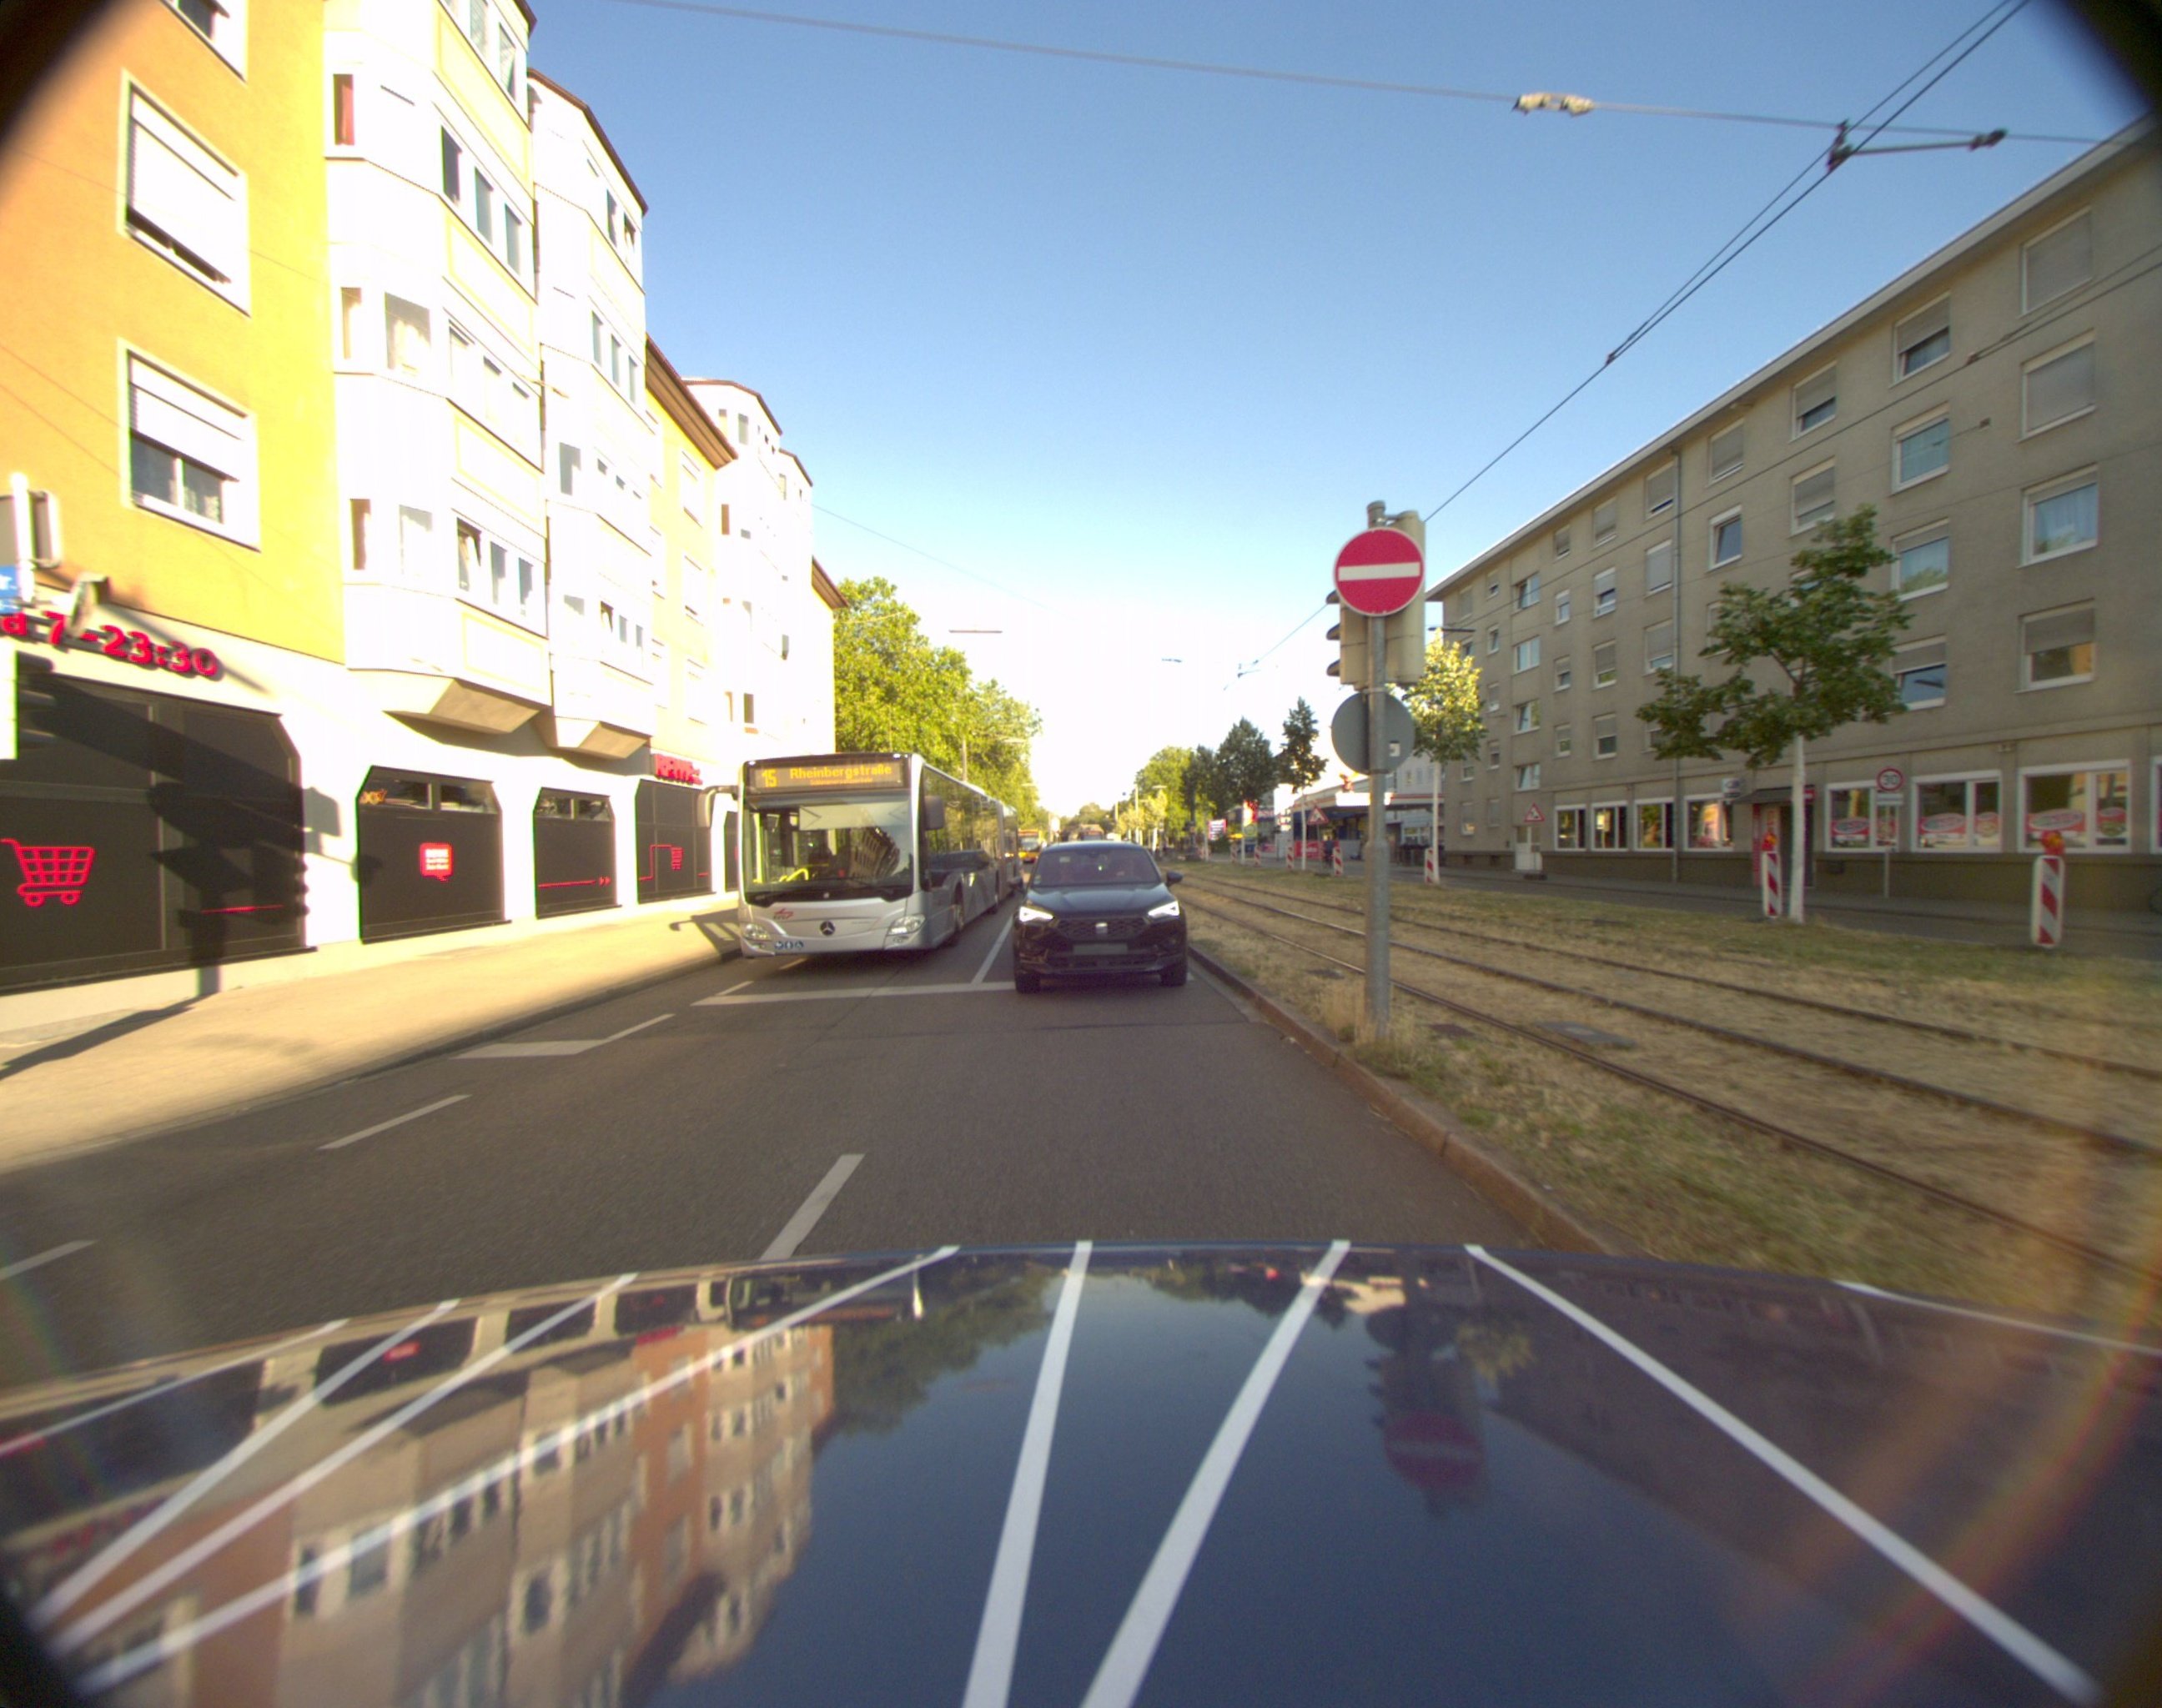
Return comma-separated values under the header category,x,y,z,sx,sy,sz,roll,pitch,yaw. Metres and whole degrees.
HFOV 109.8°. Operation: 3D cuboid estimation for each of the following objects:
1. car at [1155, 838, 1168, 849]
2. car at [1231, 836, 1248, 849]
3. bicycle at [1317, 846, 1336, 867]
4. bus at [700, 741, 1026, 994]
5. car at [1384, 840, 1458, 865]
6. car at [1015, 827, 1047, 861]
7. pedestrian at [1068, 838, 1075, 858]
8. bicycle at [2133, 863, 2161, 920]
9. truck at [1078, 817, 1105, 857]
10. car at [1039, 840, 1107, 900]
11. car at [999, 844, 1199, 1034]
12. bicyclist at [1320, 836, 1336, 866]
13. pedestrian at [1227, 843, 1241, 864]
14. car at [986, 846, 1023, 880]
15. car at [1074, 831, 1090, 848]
category,x,y,z,sx,sy,sz,roll,pitch,yaw
car,13.391,-1.780,126.123,1.998,1.725,4.394,-2,2,5
car,20.855,-1.568,100.252,1.781,1.547,4.000,-2,2,7
bicycle,15.172,0.167,47.035,0.456,1.250,1.870,-1,0,-4
bus,-3.379,-0.002,18.447,2.773,3.132,17.736,-1,1,0
car,20.812,-0.068,46.604,3.728,1.460,1.907,0,-1,-3
car,-4.569,-0.959,69.917,2.682,2.875,5.449,-2,2,-3
pedestrian,-0.914,-0.608,75.868,0.625,2.002,0.694,-2,1,-3
bicycle,20.191,0.708,13.426,0.609,1.018,1.844,-2,2,-2
truck,1.051,-1.788,78.706,2.306,3.799,7.720,-2,2,-2
car,-0.311,0.442,24.583,1.999,1.740,3.998,-1,1,-2
car,0.105,0.756,9.000,1.775,1.667,3.998,-3,1,-2
bicyclist,15.187,-0.198,46.793,0.653,1.872,0.808,0,1,-4
pedestrian,9.246,-0.018,45.983,0.664,1.263,0.581,-2,1,-1
car,-4.023,0.441,40.380,1.750,1.598,3.822,-2,2,-4
car,0.122,-1.833,92.961,1.767,2.002,3.790,-2,2,-2
